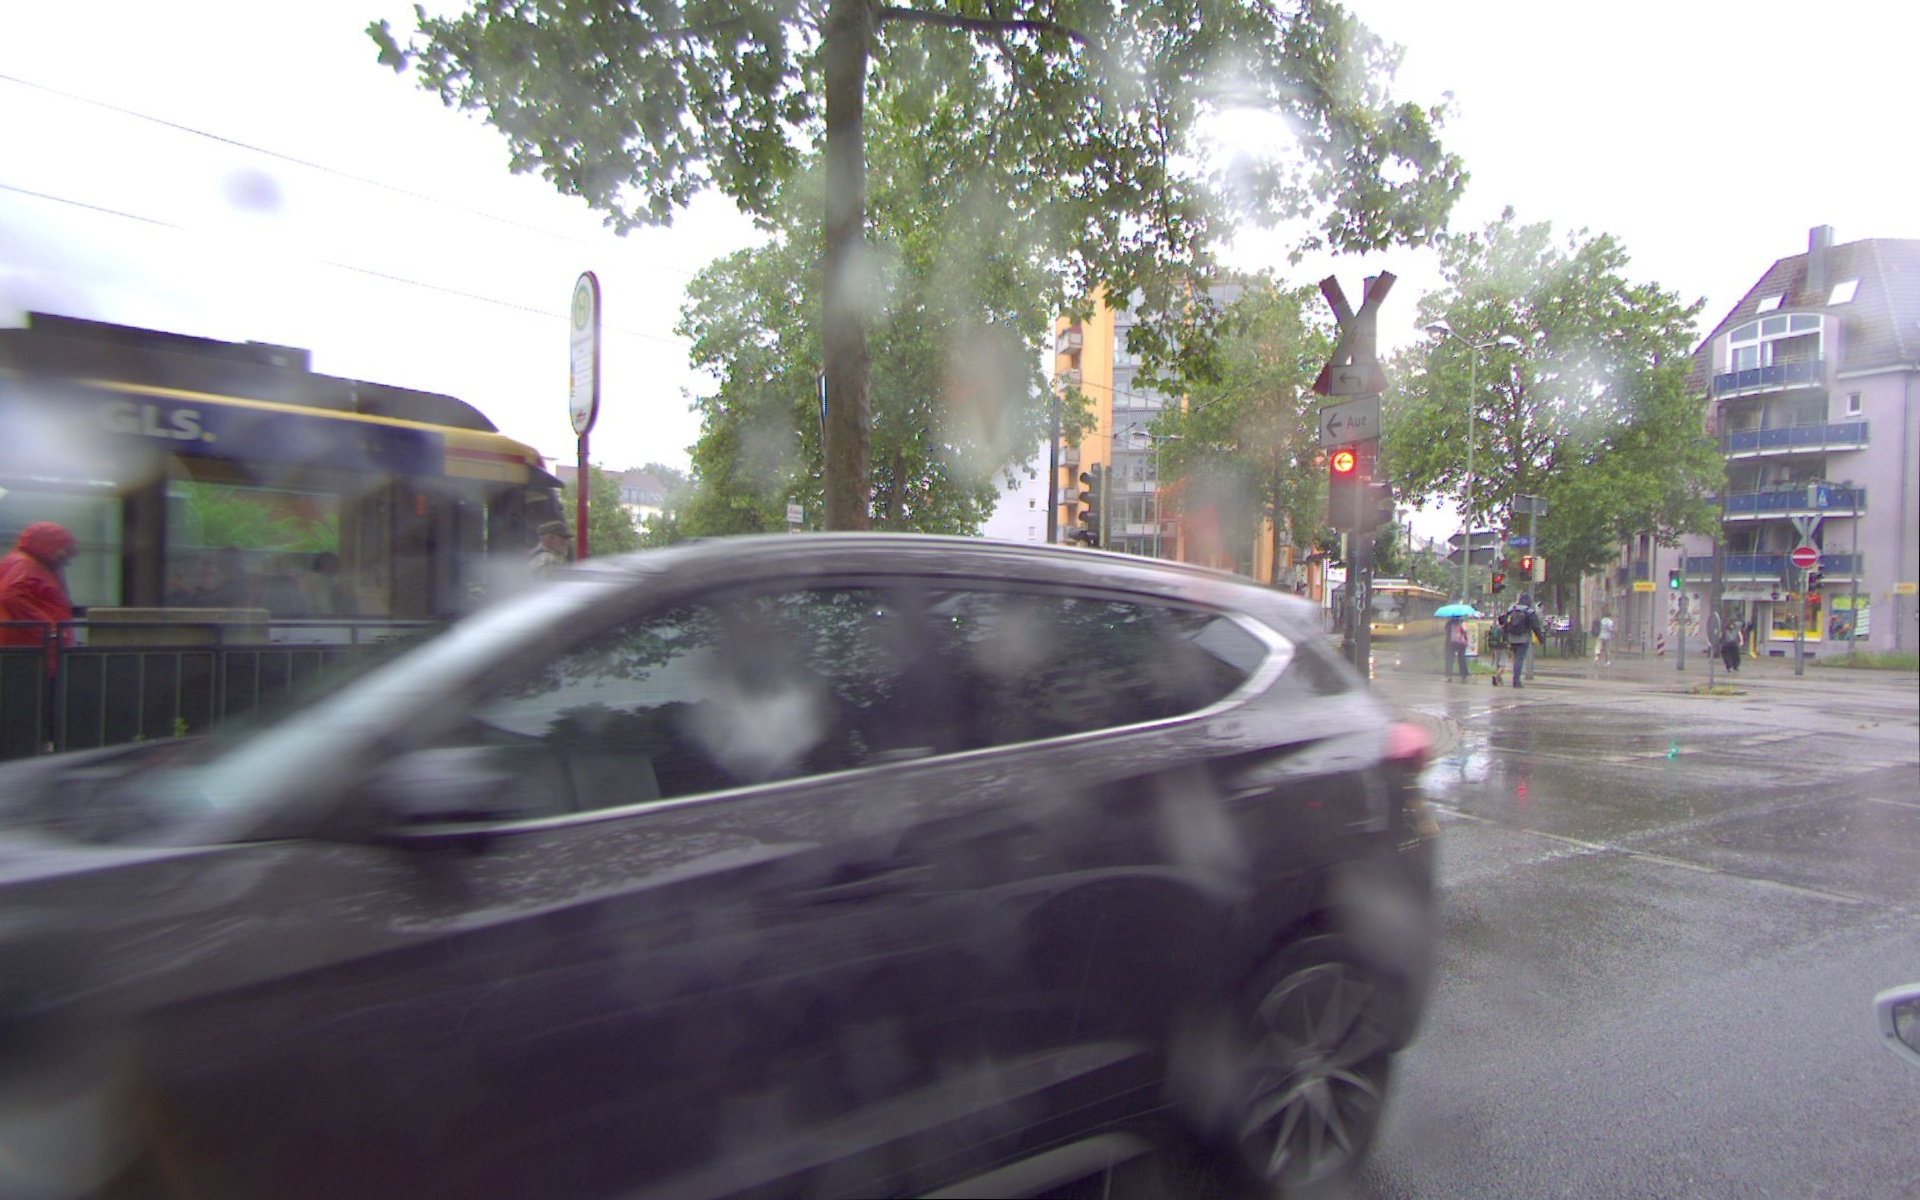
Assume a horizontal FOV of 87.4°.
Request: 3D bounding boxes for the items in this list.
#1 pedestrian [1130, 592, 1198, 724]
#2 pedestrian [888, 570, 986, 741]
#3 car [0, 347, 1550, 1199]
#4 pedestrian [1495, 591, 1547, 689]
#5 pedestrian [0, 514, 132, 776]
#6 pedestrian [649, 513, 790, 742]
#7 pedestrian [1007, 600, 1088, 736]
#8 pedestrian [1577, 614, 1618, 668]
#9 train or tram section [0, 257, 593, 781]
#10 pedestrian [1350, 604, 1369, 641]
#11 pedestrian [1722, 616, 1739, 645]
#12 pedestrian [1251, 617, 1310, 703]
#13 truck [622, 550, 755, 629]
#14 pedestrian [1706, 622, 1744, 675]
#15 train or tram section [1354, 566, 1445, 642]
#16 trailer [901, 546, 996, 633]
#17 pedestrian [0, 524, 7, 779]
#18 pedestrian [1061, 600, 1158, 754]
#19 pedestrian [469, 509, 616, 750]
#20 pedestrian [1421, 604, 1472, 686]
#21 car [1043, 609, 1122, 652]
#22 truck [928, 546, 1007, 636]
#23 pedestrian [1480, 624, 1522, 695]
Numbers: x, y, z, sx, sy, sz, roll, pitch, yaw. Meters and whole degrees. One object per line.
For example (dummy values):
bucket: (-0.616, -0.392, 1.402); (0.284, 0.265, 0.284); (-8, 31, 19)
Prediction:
pedestrian: (2.758, 0.757, 13.523); (0.823, 1.722, 0.689); (-1, 0, 17)
pedestrian: (-0.232, 0.563, 10.477); (0.783, 1.705, 0.659); (-2, 0, 23)
car: (-0.782, 0.576, 2.378); (4.551, 1.705, 1.794); (2, 0, -31)
pedestrian: (11.062, 0.774, 19.812); (0.777, 1.880, 0.679); (2, 1, 37)
pedestrian: (-6.047, 0.286, 6.571); (0.783, 1.593, 0.659); (-2, 0, 24)
pedestrian: (-2.130, 0.227, 8.891); (0.885, 1.889, 0.861); (1, 1, -41)
pedestrian: (1.032, 0.780, 11.891); (0.654, 1.540, 0.675); (1, 0, -42)
pedestrian: (19.521, 1.258, 30.749); (0.956, 1.622, 0.670); (2, 0, -30)
train or tram section: (-9.576, -0.630, 6.184); (13.607, 3.593, 2.835); (2, 0, -41)
pedestrian: (23.440, 1.314, 58.950); (0.871, 2.179, 0.910); (2, 0, 29)
pedestrian: (36.003, 1.412, 46.937); (0.552, 1.347, 0.444); (2, 0, 34)
pedestrian: (5.304, 0.973, 16.601); (0.704, 1.367, 0.650); (1, 1, -44)
truck: (-11.739, -0.421, 43.628); (5.383, 3.205, 2.164); (2, 0, -16)
pedestrian: (23.275, 1.464, 30.554); (0.785, 1.553, 0.743); (2, 0, -41)
train or tram section: (26.020, 0.349, 58.755); (2.839, 3.818, 17.211); (2, 0, 30)
trailer: (-0.817, -0.460, 50.748); (2.593, 3.899, 10.114); (2, 0, -13)
pedestrian: (-5.937, 0.108, 5.415); (1.068, 1.851, 0.974); (-2, 0, -41)
pedestrian: (1.672, 0.821, 11.271); (0.809, 1.646, 0.724); (0, 0, -37)
pedestrian: (-3.321, 0.216, 7.983); (0.824, 1.778, 0.857); (1, 1, -42)
pedestrian: (11.145, 1.008, 23.002); (0.943, 1.789, 0.951); (2, 0, 31)
car: (4.873, 1.178, 40.494); (1.585, 1.551, 4.017); (1, 1, -19)
truck: (0.276, -0.384, 46.058); (2.593, 3.842, 4.444); (2, 0, -13)
pedestrian: (11.212, 1.221, 20.814); (0.640, 1.414, 0.780); (1, 0, 35)
